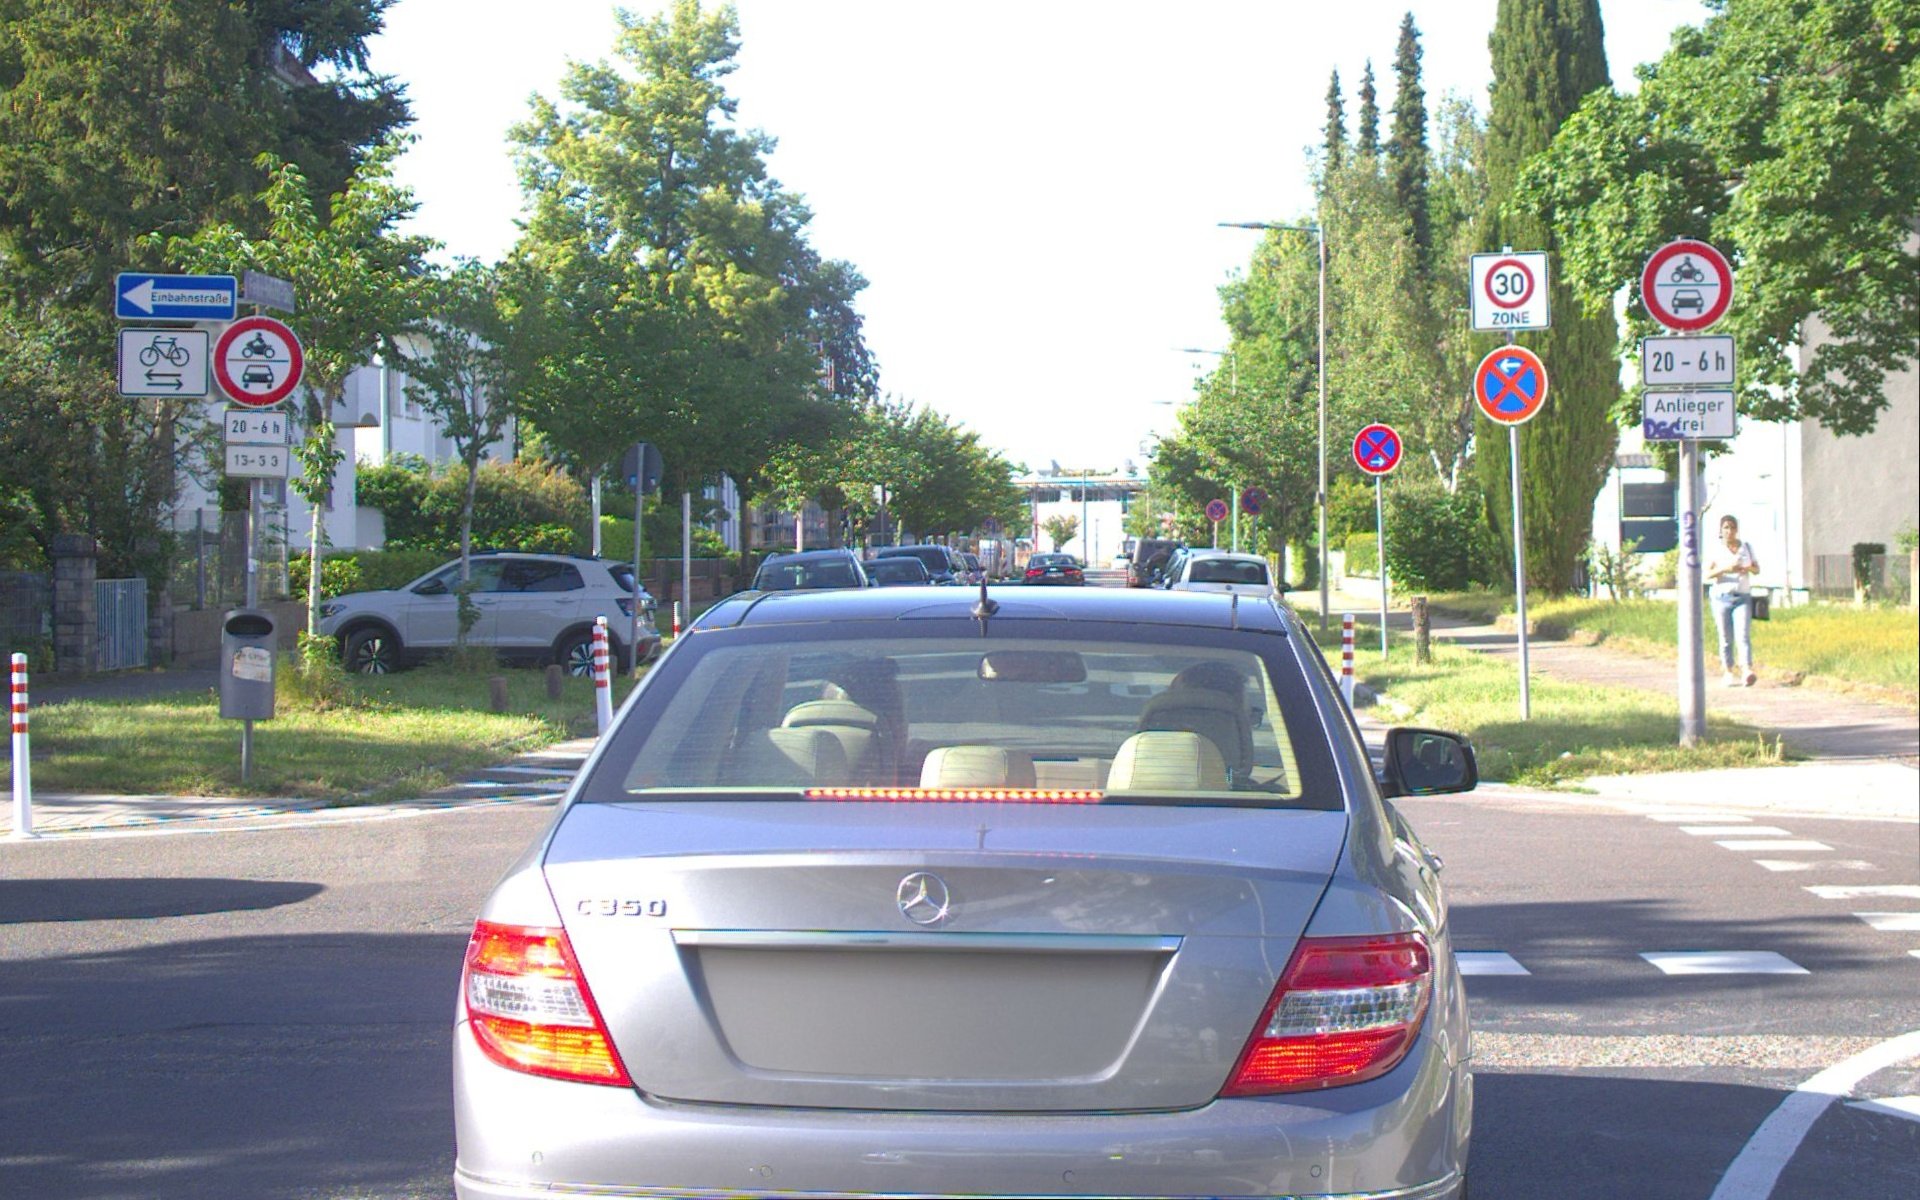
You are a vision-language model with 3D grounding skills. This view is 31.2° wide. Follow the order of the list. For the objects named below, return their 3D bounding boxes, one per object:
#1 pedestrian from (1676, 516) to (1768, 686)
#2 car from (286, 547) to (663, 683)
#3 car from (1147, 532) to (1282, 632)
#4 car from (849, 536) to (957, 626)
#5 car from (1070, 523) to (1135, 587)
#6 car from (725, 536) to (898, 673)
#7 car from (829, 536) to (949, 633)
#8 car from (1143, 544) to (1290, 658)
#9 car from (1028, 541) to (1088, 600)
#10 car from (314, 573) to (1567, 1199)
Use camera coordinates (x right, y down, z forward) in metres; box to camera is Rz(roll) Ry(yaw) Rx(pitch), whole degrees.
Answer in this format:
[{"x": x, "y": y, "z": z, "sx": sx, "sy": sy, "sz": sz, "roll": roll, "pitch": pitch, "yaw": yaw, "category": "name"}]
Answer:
[{"x": 7.303, "y": 0.001, "z": 32.985, "sx": 0.766, "sy": 1.605, "sz": 0.834, "roll": -1, "pitch": 1, "yaw": 7, "category": "pedestrian"}, {"x": -5.665, "y": 0.162, "z": 40.488, "sx": 4.192, "sy": 1.558, "sz": 1.842, "roll": 0, "pitch": 1, "yaw": -1, "category": "car"}, {"x": 4.284, "y": -0.338, "z": 58.368, "sx": 1.993, "sy": 1.604, "sz": 4.000, "roll": -1, "pitch": 1, "yaw": 0, "category": "car"}, {"x": -1.118, "y": -0.410, "z": 69.075, "sx": 1.993, "sy": 1.604, "sz": 4.000, "roll": -4, "pitch": 1, "yaw": 0, "category": "car"}, {"x": 4.257, "y": -1.367, "z": 103.123, "sx": 1.855, "sy": 1.835, "sz": 4.000, "roll": -1, "pitch": 1, "yaw": 2, "category": "car"}, {"x": -1.911, "y": 0.022, "z": 45.488, "sx": 1.993, "sy": 1.604, "sz": 4.000, "roll": -4, "pitch": 1, "yaw": 0, "category": "car"}, {"x": -1.273, "y": -0.313, "z": 63.284, "sx": 1.993, "sy": 1.604, "sz": 4.000, "roll": -4, "pitch": 1, "yaw": 0, "category": "car"}, {"x": 3.505, "y": -0.020, "z": 47.497, "sx": 1.733, "sy": 1.474, "sz": 3.725, "roll": -1, "pitch": 1, "yaw": 0, "category": "car"}, {"x": 2.787, "y": -0.860, "z": 98.619, "sx": 1.597, "sy": 1.604, "sz": 3.644, "roll": -1, "pitch": 1, "yaw": 0, "category": "car"}, {"x": 0.075, "y": 0.679, "z": 7.032, "sx": 1.836, "sy": 1.436, "sz": 4.000, "roll": 0, "pitch": 1, "yaw": 3, "category": "car"}]
